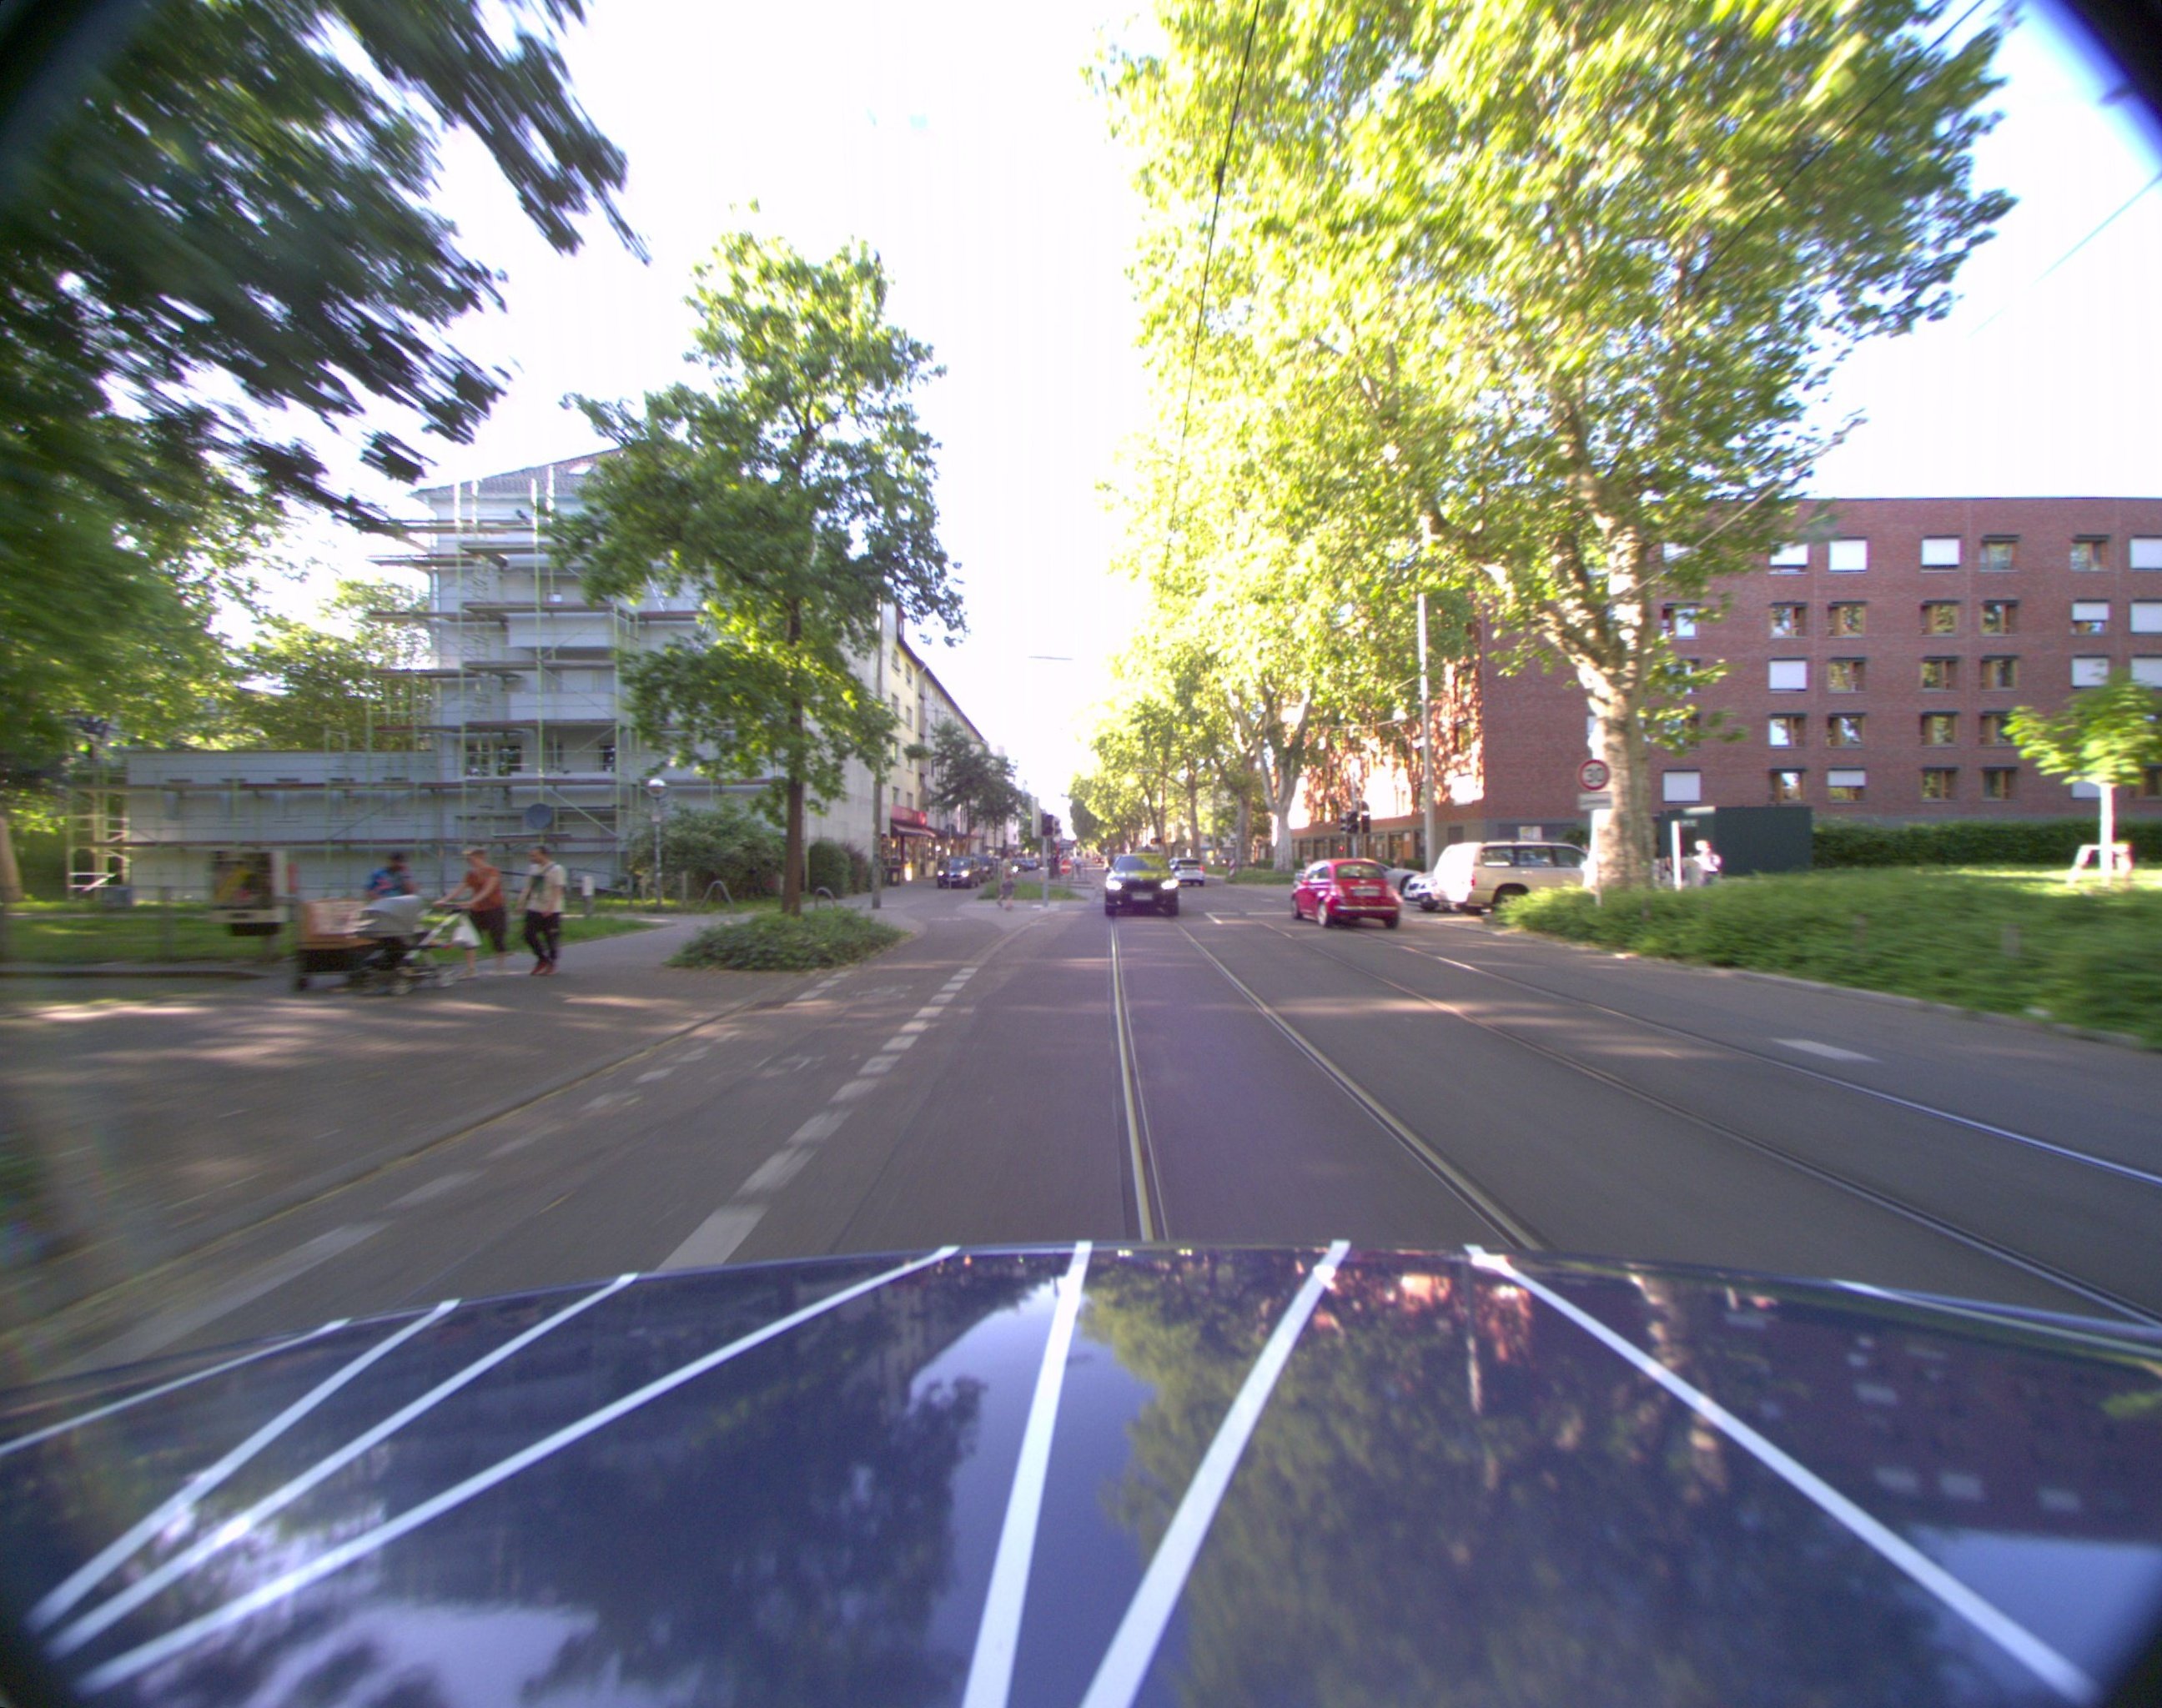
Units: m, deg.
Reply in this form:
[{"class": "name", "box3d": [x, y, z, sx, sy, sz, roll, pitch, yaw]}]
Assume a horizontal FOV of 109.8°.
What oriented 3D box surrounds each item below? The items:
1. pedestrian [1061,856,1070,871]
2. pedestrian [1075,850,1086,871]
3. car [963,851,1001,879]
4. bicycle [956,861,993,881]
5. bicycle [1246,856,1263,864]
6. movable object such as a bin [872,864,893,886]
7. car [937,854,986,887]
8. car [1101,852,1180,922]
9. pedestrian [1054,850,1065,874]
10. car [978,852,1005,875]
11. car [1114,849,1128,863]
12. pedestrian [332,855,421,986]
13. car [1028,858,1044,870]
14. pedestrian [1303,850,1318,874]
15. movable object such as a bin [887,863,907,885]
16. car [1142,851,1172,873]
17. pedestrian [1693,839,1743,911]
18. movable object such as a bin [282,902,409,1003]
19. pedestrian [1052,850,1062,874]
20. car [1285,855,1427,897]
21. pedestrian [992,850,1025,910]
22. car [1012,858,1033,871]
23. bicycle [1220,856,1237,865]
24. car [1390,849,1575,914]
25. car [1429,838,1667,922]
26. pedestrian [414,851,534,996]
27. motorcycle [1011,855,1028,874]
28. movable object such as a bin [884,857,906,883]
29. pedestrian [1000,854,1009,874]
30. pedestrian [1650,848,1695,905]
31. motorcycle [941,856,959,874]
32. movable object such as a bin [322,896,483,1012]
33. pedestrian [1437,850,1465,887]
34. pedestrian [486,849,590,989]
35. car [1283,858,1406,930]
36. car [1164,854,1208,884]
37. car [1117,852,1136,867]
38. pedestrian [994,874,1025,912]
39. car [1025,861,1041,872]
[{"class": "pedestrian", "box3d": [-1.387, 0.840, 68.499, 0.721, 1.318, 0.493, -2, 1, -11]}, {"class": "pedestrian", "box3d": [-0.049, 0.528, 61.724, 0.836, 1.703, 0.640, -1, 1, 1]}, {"class": "car", "box3d": [-6.917, 0.747, 53.349, 1.998, 1.885, 4.194, 1, 0, 2]}, {"class": "bicycle", "box3d": [-6.778, 1.062, 48.590, 2.210, 1.202, 1.029, 1, 1, 0]}, {"class": "bicycle", "box3d": [22.399, 0.775, 98.102, 0.823, 1.088, 2.033, -2, 1, -38]}, {"class": "movable object such as a bin", "box3d": [-10.270, 1.081, 39.345, 0.883, 1.104, 0.697, 1, 1, -2]}, {"class": "car", "box3d": [-6.321, 0.849, 40.579, 1.766, 1.612, 4.442, 1, 0, 1]}, {"class": "car", "box3d": [1.755, 0.837, 21.971, 1.936, 1.718, 5.074, -2, 0, 5]}, {"class": "pedestrian", "box3d": [-1.604, 0.562, 56.005, 0.690, 1.745, 0.580, -2, 1, -6]}, {"class": "car", "box3d": [-7.017, 0.713, 59.812, 1.693, 1.745, 4.173, -2, 0, -1]}, {"class": "car", "box3d": [8.371, 0.359, 158.769, 2.429, 2.833, 5.072, -2, 0, -1]}, {"class": "pedestrian", "box3d": [-9.537, 0.885, 10.297, 0.619, 1.716, 0.554, -1, 1, 3]}, {"class": "car", "box3d": [-6.532, 1.436, 110.242, 1.998, 1.572, 3.999, -2, 0, 0]}, {"class": "pedestrian", "box3d": [17.080, 0.563, 56.521, 0.765, 1.733, 0.972, -2, 1, 0]}, {"class": "movable object such as a bin", "box3d": [-9.673, 1.052, 39.895, 0.883, 1.104, 0.697, 1, 1, -2]}, {"class": "car", "box3d": [5.614, 0.566, 56.366, 1.780, 1.452, 4.204, -2, 0, 1]}, {"class": "pedestrian", "box3d": [16.202, 0.521, 19.337, 0.645, 1.799, 0.752, -1, 1, 5]}, {"class": "movable object such as a bin", "box3d": [-9.164, 1.200, 9.511, 0.667, 1.119, 0.956, -2, 1, -8]}, {"class": "pedestrian", "box3d": [-1.772, 0.563, 56.695, 0.493, 1.760, 0.704, -1, 1, 15]}, {"class": "car", "box3d": [10.577, 0.831, 29.489, 4.777, 1.452, 1.954, -2, 1, -2]}, {"class": "pedestrian", "box3d": [-2.349, 0.831, 24.538, 0.870, 1.874, 0.996, -2, 1, -16]}, {"class": "car", "box3d": [-7.113, 1.284, 92.530, 1.958, 1.474, 4.660, -2, 0, 2]}, {"class": "bicycle", "box3d": [19.107, 0.837, 98.311, 2.098, 1.182, 0.882, -1, 1, 16]}, {"class": "car", "box3d": [11.096, 0.727, 21.217, 4.150, 1.637, 1.902, -2, 1, -2]}, {"class": "car", "box3d": [11.211, 0.604, 18.491, 4.582, 1.823, 1.938, -2, 1, 0]}, {"class": "pedestrian", "box3d": [-7.941, 0.863, 9.977, 0.727, 1.782, 0.968, 1, 1, 11]}, {"class": "motorcycle", "box3d": [-4.770, 0.811, 58.950, 1.054, 1.446, 2.208, -2, 0, 0]}, {"class": "movable object such as a bin", "box3d": [-10.283, 0.877, 41.997, 1.002, 1.389, 0.824, 1, 1, -2]}, {"class": "pedestrian", "box3d": [-7.052, 0.909, 69.869, 0.680, 1.794, 0.773, -2, 2, -3]}, {"class": "pedestrian", "box3d": [17.549, 0.660, 22.551, 0.711, 1.663, 0.779, -2, 1, 0]}, {"class": "motorcycle", "box3d": [-10.234, 0.839, 59.419, 0.954, 1.309, 2.650, 5, -1, -2]}, {"class": "movable object such as a bin", "box3d": [-8.039, 1.139, 9.073, 0.640, 1.195, 1.306, 1, 0, 11]}, {"class": "pedestrian", "box3d": [17.732, 0.697, 36.435, 0.845, 1.727, 0.915, -2, 1, -5]}, {"class": "pedestrian", "box3d": [-7.277, 0.839, 10.220, 0.727, 1.782, 0.854, 1, 1, 11]}, {"class": "car", "box3d": [5.980, 0.842, 17.636, 1.665, 1.435, 3.473, -2, 0, 1]}, {"class": "car", "box3d": [5.765, 0.779, 42.143, 1.820, 1.559, 4.116, 1, 0, 0]}, {"class": "car", "box3d": [5.751, 0.690, 96.324, 1.999, 1.706, 5.142, -2, 0, 0]}, {"class": "pedestrian", "box3d": [-2.152, 1.165, 22.941, 0.658, 1.112, 0.677, -1, 1, 25]}, {"class": "car", "box3d": [-6.538, 1.691, 104.170, 1.899, 1.477, 3.999, -2, 0, 0]}]
